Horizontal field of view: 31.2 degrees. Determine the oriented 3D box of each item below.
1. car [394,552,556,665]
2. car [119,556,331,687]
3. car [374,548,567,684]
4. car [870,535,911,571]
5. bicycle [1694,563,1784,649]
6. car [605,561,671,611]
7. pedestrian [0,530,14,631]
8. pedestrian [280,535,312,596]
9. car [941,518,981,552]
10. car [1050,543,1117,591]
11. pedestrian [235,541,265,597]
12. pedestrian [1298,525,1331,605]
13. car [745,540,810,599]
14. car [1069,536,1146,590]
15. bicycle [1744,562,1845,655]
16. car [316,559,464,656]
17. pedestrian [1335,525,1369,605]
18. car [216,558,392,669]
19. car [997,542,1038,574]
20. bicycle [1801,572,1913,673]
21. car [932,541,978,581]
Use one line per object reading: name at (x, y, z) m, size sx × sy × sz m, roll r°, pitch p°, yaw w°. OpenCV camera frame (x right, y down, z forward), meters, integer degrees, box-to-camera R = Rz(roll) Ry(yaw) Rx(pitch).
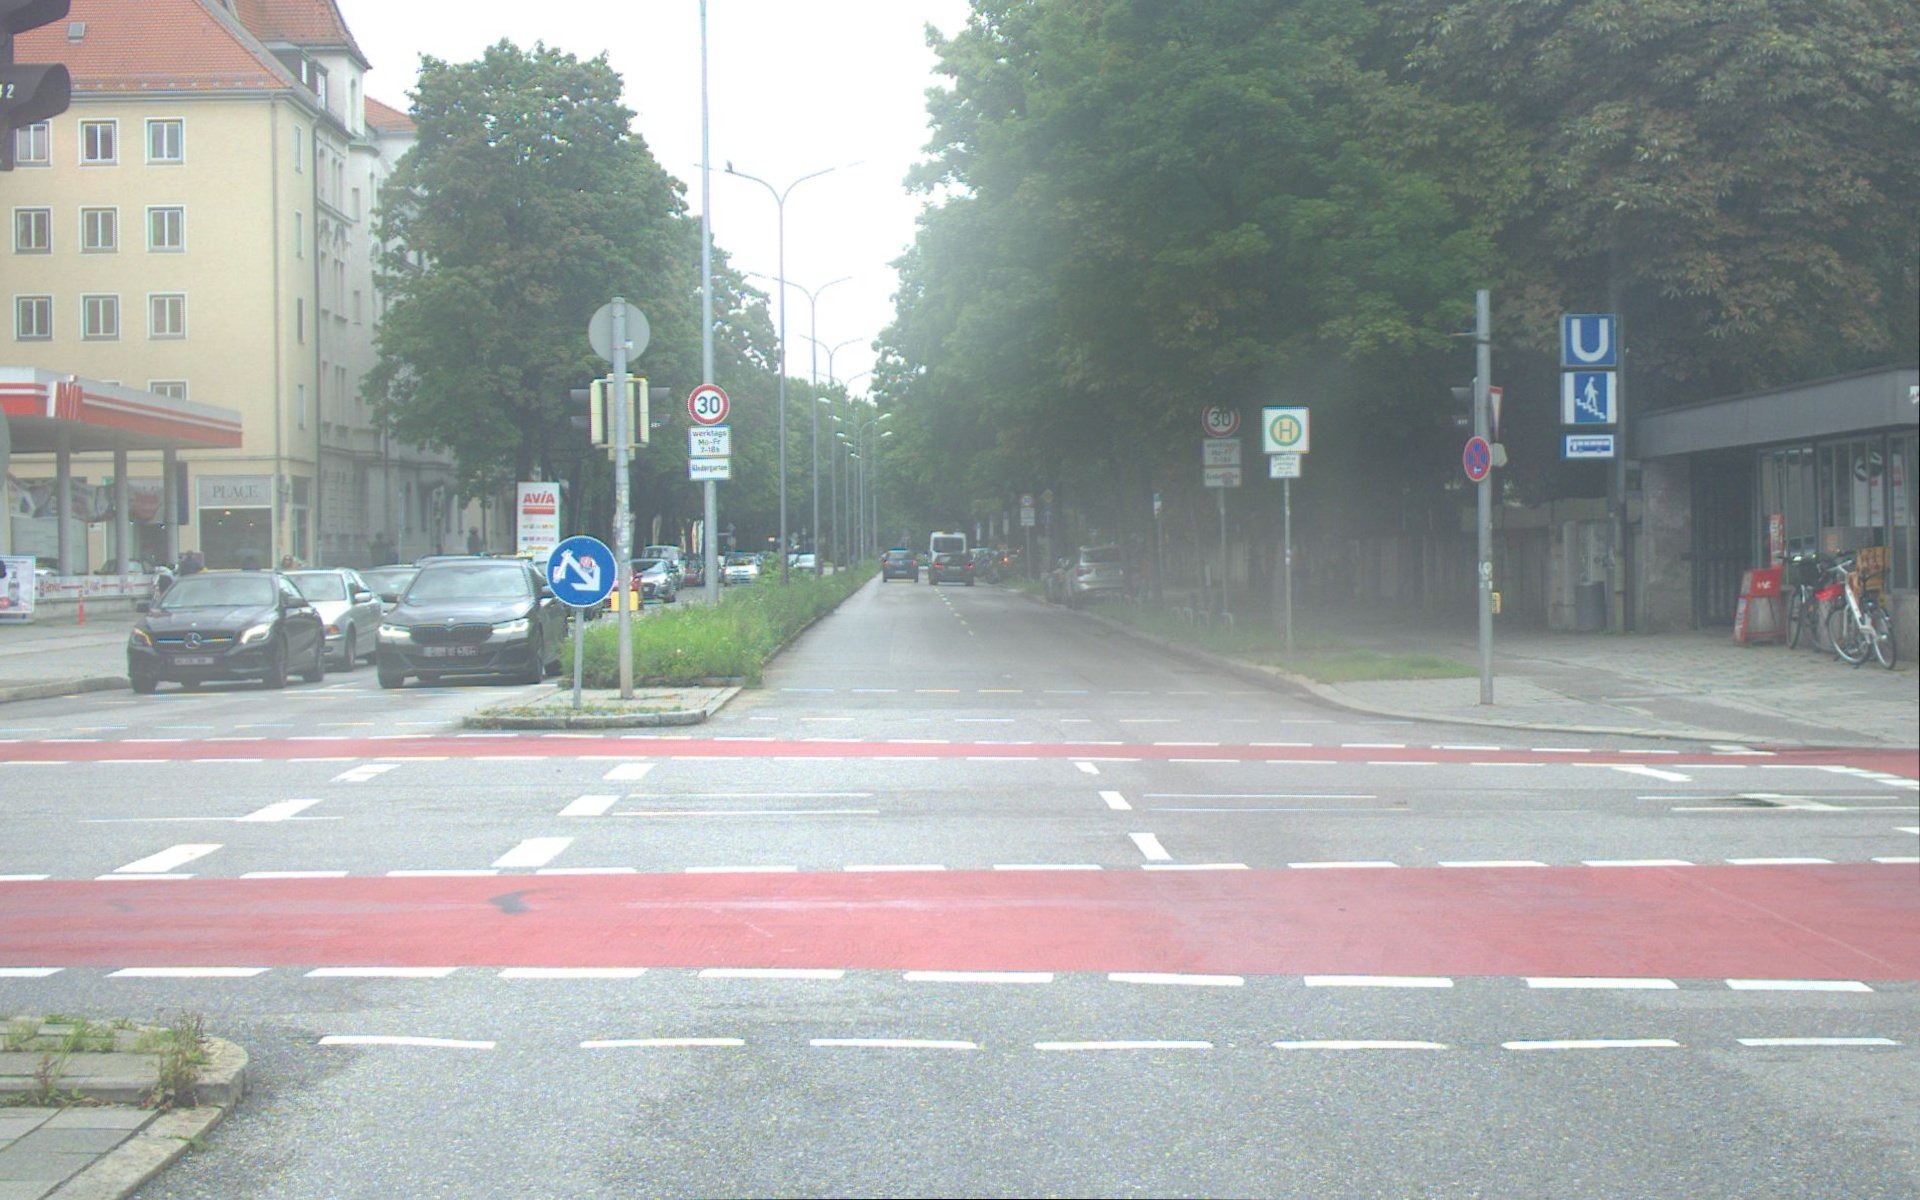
car at (-6.754, 0.086, 48.205) m, size 1.759 × 1.488 × 4.000 m, roll -1°, pitch 1°, yaw -1°
car at (-8.797, 0.225, 41.447) m, size 1.759 × 1.455 × 4.000 m, roll -1°, pitch 1°, yaw -1°
car at (-5.719, 0.147, 40.533) m, size 1.759 × 1.488 × 4.000 m, roll -1°, pitch 1°, yaw -1°
car at (-3.268, -2.225, 161.872) m, size 1.857 × 1.678 × 4.000 m, roll -1°, pitch 1°, yaw -1°
bicycle at (9.559, 0.058, 42.252) m, size 0.556 × 1.011 × 2.016 m, roll -1°, pitch 1°, yaw -3°
car at (-9.986, -0.448, 106.820) m, size 1.759 × 1.488 × 4.000 m, roll -1°, pitch 1°, yaw -1°
pedestrian at (-19.528, -0.398, 69.196) m, size 0.730 × 2.007 × 0.834 m, roll 1°, pitch 0°, yaw -1°
pedestrian at (-17.892, -0.930, 92.643) m, size 0.696 × 1.632 × 0.738 m, roll -1°, pitch 1°, yaw -1°
car at (0.039, -3.455, 183.271) m, size 1.993 × 1.750 × 4.000 m, roll -1°, pitch 1°, yaw -1°
car at (3.567, -0.973, 99.815) m, size 1.743 × 1.358 × 3.807 m, roll -1°, pitch 1°, yaw -1°
pedestrian at (-20.697, -0.909, 100.222) m, size 0.696 × 1.632 × 0.738 m, roll -1°, pitch 1°, yaw -1°
pedestrian at (7.490, -0.751, 72.727) m, size 0.678 × 1.677 × 0.682 m, roll 0°, pitch 1°, yaw 5°
car at (-4.499, -0.770, 85.244) m, size 1.468 × 1.394 × 3.700 m, roll -1°, pitch 1°, yaw -1°
car at (3.829, -0.973, 89.660) m, size 1.743 × 1.358 × 3.807 m, roll -1°, pitch 1°, yaw -1°
bicycle at (9.416, 0.083, 38.840) m, size 0.556 × 1.011 × 2.016 m, roll -1°, pitch 1°, yaw -3°
car at (-9.103, 0.093, 55.161) m, size 1.759 × 1.455 × 4.000 m, roll -1°, pitch 1°, yaw -1°
pedestrian at (8.296, -0.744, 72.773) m, size 0.678 × 1.677 × 0.682 m, roll 0°, pitch 1°, yaw 5°
car at (-9.144, 0.157, 48.199) m, size 1.759 × 1.455 × 4.000 m, roll -1°, pitch 1°, yaw -1°
car at (2.673, -1.953, 159.319) m, size 1.743 × 1.422 × 3.899 m, roll -1°, pitch 1°, yaw -1°
bicycle at (9.405, 0.220, 36.108) m, size 0.556 × 1.011 × 2.016 m, roll -1°, pitch 1°, yaw -3°
car at (-0.221, -1.713, 148.616) m, size 1.922 × 1.678 × 4.000 m, roll -1°, pitch 1°, yaw -1°
